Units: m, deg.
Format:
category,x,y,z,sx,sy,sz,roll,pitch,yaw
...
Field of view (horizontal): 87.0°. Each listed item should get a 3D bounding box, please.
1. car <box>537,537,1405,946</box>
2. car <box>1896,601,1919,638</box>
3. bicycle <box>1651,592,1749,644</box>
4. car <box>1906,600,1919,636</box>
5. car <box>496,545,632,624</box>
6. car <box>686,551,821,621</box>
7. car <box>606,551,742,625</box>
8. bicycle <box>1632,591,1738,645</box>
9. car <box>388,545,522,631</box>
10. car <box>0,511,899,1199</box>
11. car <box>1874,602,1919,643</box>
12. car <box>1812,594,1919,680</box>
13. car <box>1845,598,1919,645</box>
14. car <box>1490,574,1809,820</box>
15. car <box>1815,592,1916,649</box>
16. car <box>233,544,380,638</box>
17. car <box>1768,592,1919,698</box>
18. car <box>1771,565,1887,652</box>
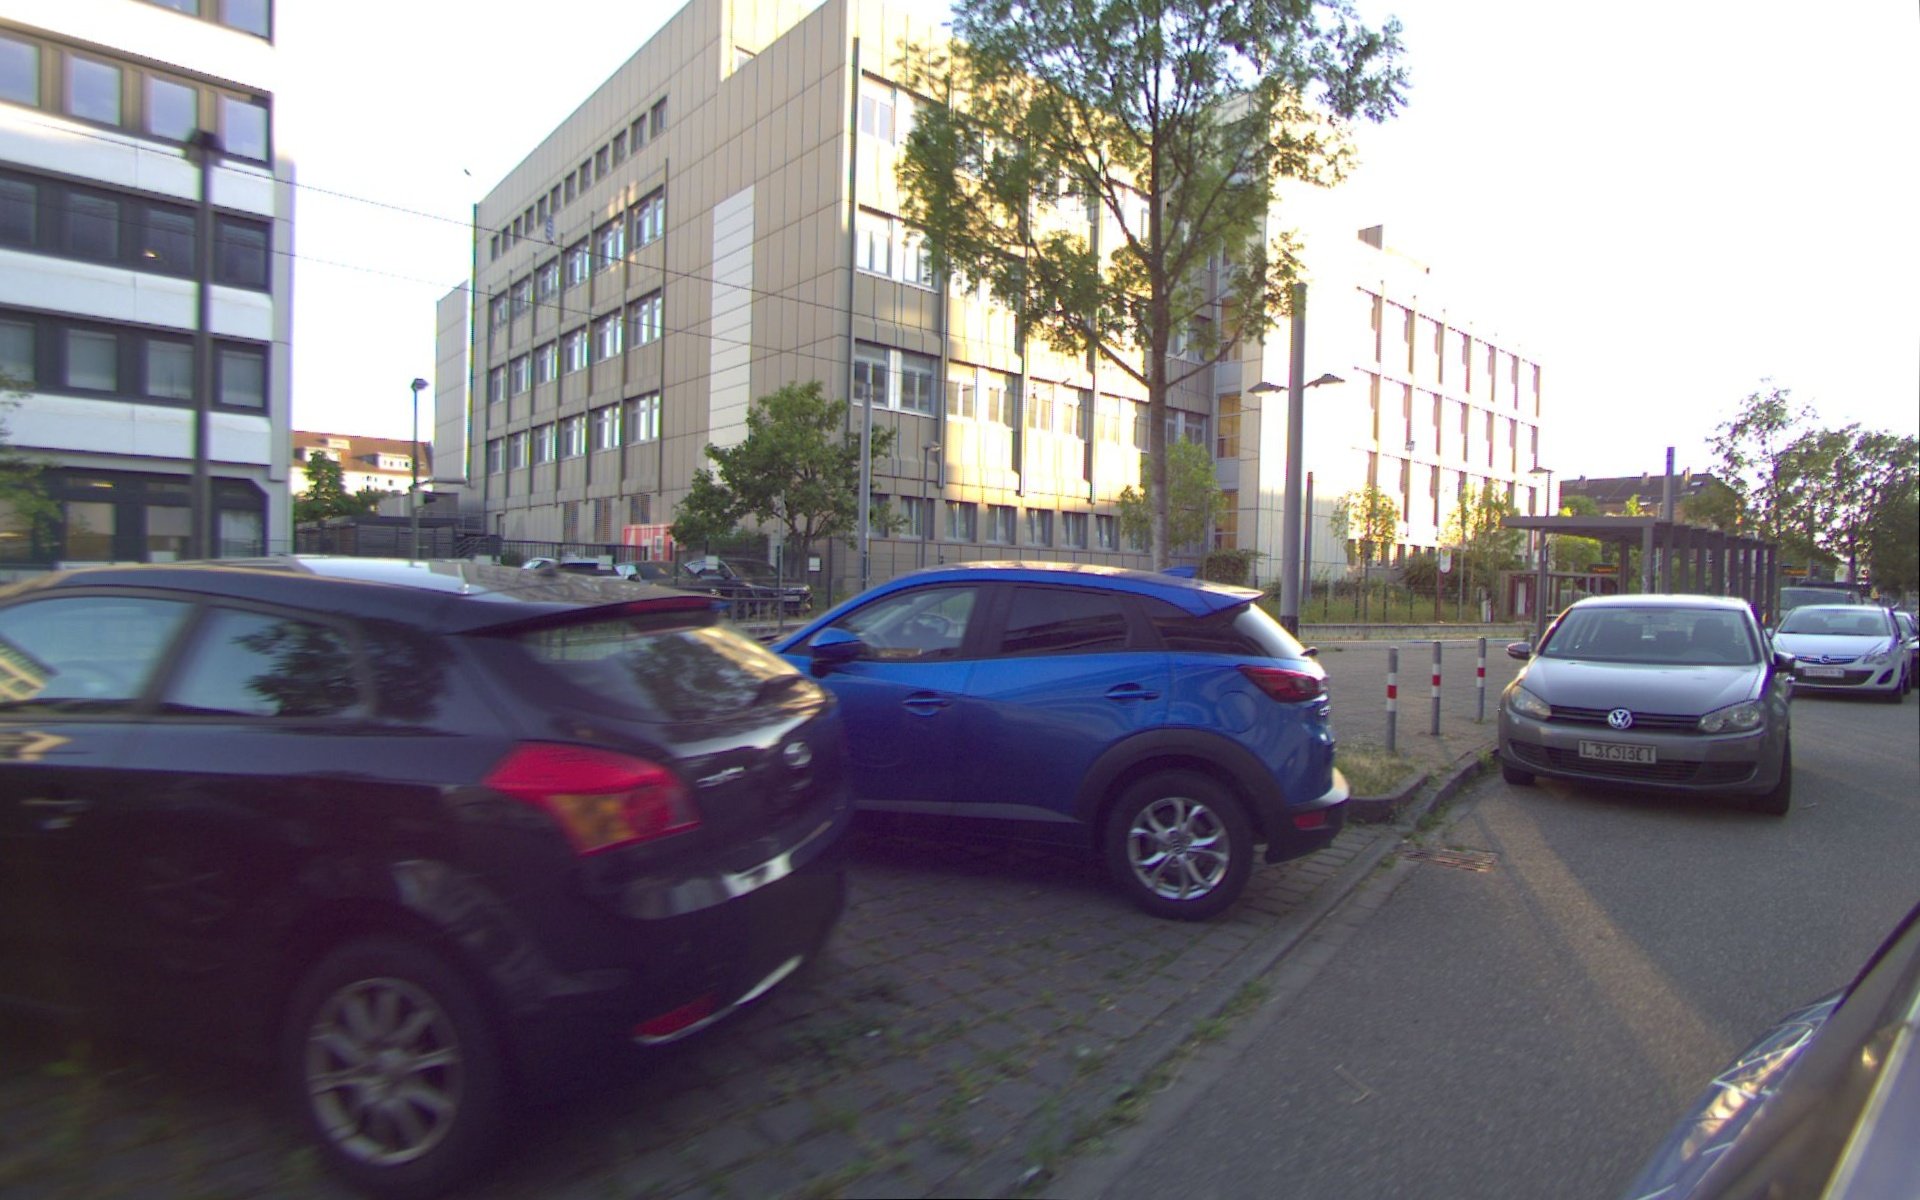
category,x,y,z,sx,sy,sz,roll,pitch,yaw
car,0.049,0.494,5.429,3.942,1.539,1.920,2,3,15
car,42.964,0.909,44.630,4.695,1.514,1.801,1,4,-40
bicycle,16.768,0.391,22.967,0.414,1.079,1.723,0,2,-41
car,46.400,0.882,48.066,4.193,1.663,1.711,0,3,-42
car,-8.965,-0.402,22.727,1.645,1.505,3.998,1,4,-40
car,-5.334,-0.403,25.820,1.645,1.505,3.998,1,4,-40
car,-6.945,-0.330,24.296,1.645,1.505,3.998,1,4,-40
bicycle,15.926,0.378,22.284,0.479,1.079,1.809,0,3,-41
car,-10.635,-0.309,21.175,1.645,1.505,3.998,1,4,-40
car,-2.351,0.499,3.426,3.942,1.483,1.729,2,1,15
car,37.476,0.853,39.876,3.931,1.469,1.711,0,3,-42
car,18.056,0.666,19.720,4.441,1.470,1.789,1,1,-44
car,33.159,0.731,36.218,4.059,1.511,1.711,0,3,-42
car,5.714,0.574,8.185,1.729,1.484,3.942,-1,0,40
car,28.586,0.608,31.905,4.399,1.599,1.712,0,3,-40
car,-12.775,-0.228,19.672,1.793,1.532,3.995,1,3,-42
car,14.491,0.641,16.395,4.118,1.470,1.677,0,1,-44
car,24.578,0.210,28.556,4.654,2.203,1.808,0,3,-42
